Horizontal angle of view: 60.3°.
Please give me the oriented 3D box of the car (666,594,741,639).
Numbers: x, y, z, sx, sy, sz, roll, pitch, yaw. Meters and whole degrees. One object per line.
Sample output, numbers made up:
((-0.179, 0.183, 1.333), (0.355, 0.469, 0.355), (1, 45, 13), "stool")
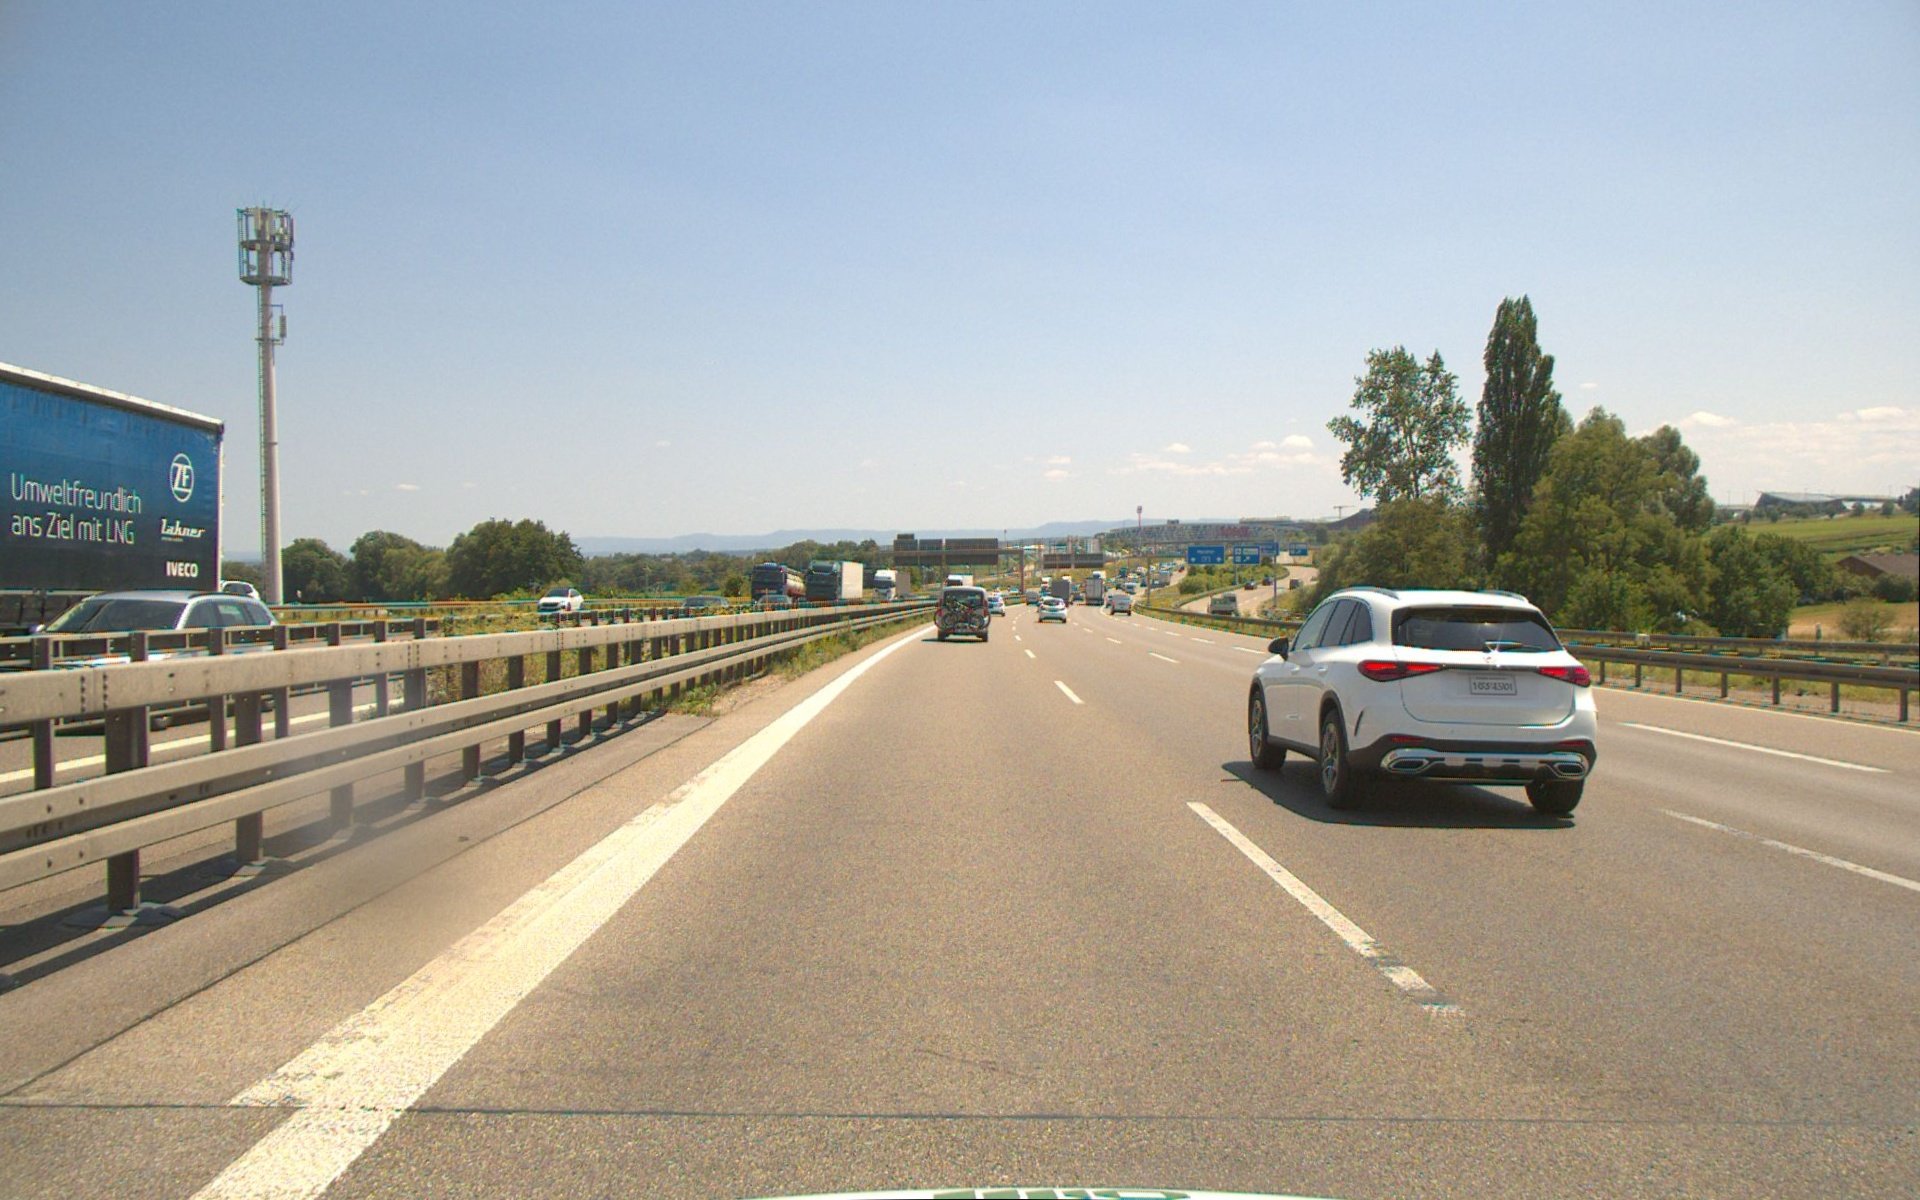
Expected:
((-8.830, 0.544, 57.354), (1.829, 1.489, 4.638), (1, 0, 0), "car")

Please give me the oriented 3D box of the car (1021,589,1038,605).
((9.512, -0.403, 225.648), (2.140, 2.038, 4.002), (1, 0, 4), "car")

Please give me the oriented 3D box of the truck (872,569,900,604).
((-9.028, -1.601, 202.531), (2.821, 4.189, 6.386), (1, 0, 2), "truck")

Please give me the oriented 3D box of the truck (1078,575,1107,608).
((19.900, -1.331, 247.631), (3.953, 4.335, 11.768), (1, 2, 6), "truck")

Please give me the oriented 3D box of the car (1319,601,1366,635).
((22.963, 1.085, 99.459), (1.899, 1.957, 4.180), (1, 0, 1), "car")

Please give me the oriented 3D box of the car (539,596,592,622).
((-22.864, 0.500, 96.063), (1.486, 1.426, 4.800), (1, 0, 5), "car")

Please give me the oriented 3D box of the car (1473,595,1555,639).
((21.291, 0.623, 63.714), (1.665, 1.602, 4.126), (1, 0, -2), "car")

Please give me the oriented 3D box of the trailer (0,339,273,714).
((-12.755, -0.885, 19.740), (2.885, 4.418, 14.620), (1, 0, 0), "trailer")

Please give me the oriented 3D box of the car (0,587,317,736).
((-9.274, 0.610, 19.109), (1.829, 1.489, 4.638), (1, 0, 0), "car")

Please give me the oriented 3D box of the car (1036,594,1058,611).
((8.152, 0.222, 155.043), (1.941, 1.499, 4.001), (0, 0, 2), "car")

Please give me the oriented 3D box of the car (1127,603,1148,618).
((20.006, 1.160, 186.465), (1.953, 1.720, 3.999), (1, 0, -1), "car")

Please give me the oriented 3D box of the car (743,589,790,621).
((-9.182, 0.218, 78.972), (1.643, 1.489, 4.705), (1, 0, 0), "car")

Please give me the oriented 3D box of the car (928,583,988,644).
((-0.016, 0.437, 56.549), (1.887, 1.952, 4.949), (1, 0, 1), "car")

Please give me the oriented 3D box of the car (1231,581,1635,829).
((3.664, 0.726, 13.861), (1.860, 1.676, 4.997), (1, 0, -1), "car")

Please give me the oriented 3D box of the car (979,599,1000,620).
((2.224, 0.703, 125.382), (1.543, 1.579, 3.964), (1, 0, 1), "car")

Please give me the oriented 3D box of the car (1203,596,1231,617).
((25.837, 0.647, 166.467), (1.953, 2.049, 3.998), (1, 0, -2), "car")

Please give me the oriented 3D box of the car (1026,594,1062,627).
((5.130, 0.642, 101.092), (1.887, 1.952, 4.517), (1, 0, 0), "car")

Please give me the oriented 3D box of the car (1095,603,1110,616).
((19.003, 1.284, 220.823), (1.952, 1.720, 4.002), (1, 0, 3), "car")

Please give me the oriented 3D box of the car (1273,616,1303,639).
((23.720, 1.970, 119.723), (1.951, 1.624, 4.003), (1, 0, 9), "car")

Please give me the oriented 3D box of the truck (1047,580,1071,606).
((12.849, -0.865, 214.438), (2.645, 3.163, 10.666), (1, 0, 6), "truck")

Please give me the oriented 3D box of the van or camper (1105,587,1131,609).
((14.719, -0.182, 154.404), (2.111, 2.049, 4.305), (1, 0, 2), "van or camper")

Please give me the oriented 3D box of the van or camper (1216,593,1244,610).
((33.835, 0.217, 207.571), (2.479, 2.049, 4.457), (1, 0, -4), "van or camper")

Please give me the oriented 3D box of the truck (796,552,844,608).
((-10.968, -1.514, 130.288), (2.906, 4.192, 7.598), (1, 0, 1), "truck")

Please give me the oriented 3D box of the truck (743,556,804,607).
((-14.722, -1.423, 131.781), (3.152, 3.852, 12.902), (1, 0, 1), "truck")
